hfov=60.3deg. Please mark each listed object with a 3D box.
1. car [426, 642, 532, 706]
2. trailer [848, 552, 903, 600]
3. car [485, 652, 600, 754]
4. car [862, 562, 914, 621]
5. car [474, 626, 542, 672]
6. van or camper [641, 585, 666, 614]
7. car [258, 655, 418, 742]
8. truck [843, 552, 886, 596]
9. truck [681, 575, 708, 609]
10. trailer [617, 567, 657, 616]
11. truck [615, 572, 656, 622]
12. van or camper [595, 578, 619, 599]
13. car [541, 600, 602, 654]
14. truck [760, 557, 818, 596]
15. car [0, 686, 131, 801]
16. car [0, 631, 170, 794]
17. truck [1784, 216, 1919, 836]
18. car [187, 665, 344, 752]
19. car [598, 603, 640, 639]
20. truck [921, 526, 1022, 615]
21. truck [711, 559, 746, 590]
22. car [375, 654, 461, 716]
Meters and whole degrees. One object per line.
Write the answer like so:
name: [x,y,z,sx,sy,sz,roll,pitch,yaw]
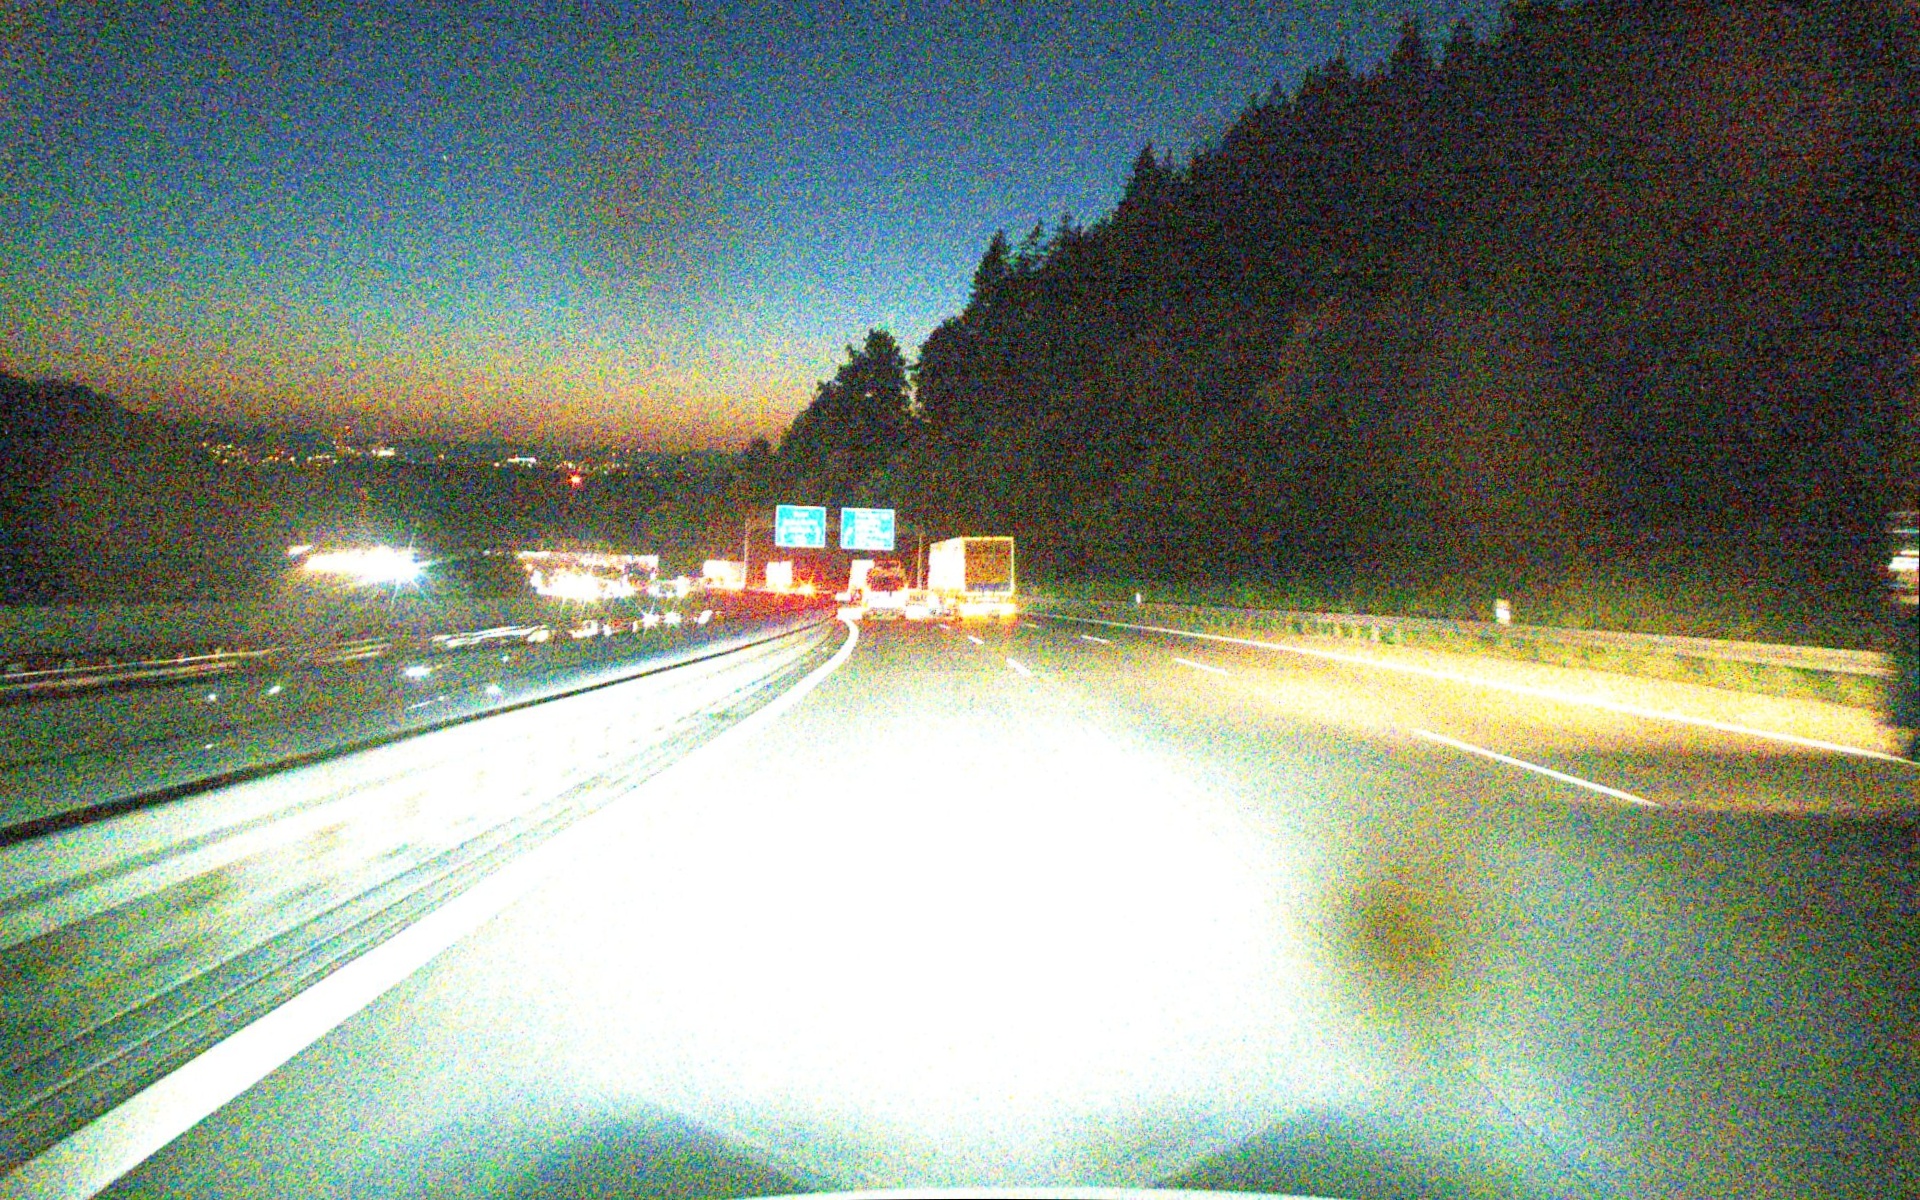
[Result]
car: [-13.082,1.988,45.257,1.866,1.479,4.707,0,0,-5]
trailer: [-8.223,-2.391,158.539,2.806,4.137,13.160,-2,3,-14]
car: [-9.150,2.217,36.522,1.699,1.890,3.997,-3,0,-4]
car: [-3.538,-0.411,80.430,2.291,2.686,5.243,2,0,-4]
car: [-17.130,1.841,62.832,1.788,1.483,3.995,-3,1,-6]
van or camper: [-32.896,-0.070,177.312,1.805,3.023,6.370,-2,1,-17]
car: [-12.787,1.982,34.312,1.866,1.479,4.707,0,0,-5]
truck: [-9.470,-2.614,163.360,2.814,4.147,7.484,-2,3,-14]
truck: [-29.770,-0.928,185.263,2.607,3.654,8.527,0,0,-11]
trailer: [-30.001,-0.772,153.879,3.374,4.315,12.799,-2,0,-10]
truck: [-28.982,-0.313,148.077,3.357,4.296,6.267,-3,1,-11]
van or camper: [-48.554,-1.599,227.266,2.409,2.808,6.452,-2,1,-19]
car: [-18.778,1.269,80.168,1.987,2.484,5.691,0,0,-4]
truck: [-22.963,-3.270,220.575,3.852,4.707,20.926,-1,2,-16]
car: [-15.837,2.335,27.704,1.866,1.479,4.707,0,0,-5]
car: [-12.789,1.534,23.577,1.589,2.048,3.323,-2,0,-5]
truck: [7.427,-0.442,8.103,2.808,3.907,8.055,1,0,0]
car: [-16.374,2.512,39.284,2.034,1.663,4.915,0,0,-5]
car: [-22.119,1.345,107.483,2.098,2.090,5.106,-2,1,-6]
truck: [0.342,-1.486,88.517,3.415,4.207,18.686,0,0,-6]
truck: [-36.554,-4.058,260.721,3.292,4.553,13.843,1,1,-17]
car: [-17.383,2.704,53.190,1.718,1.746,3.996,0,0,-5]
